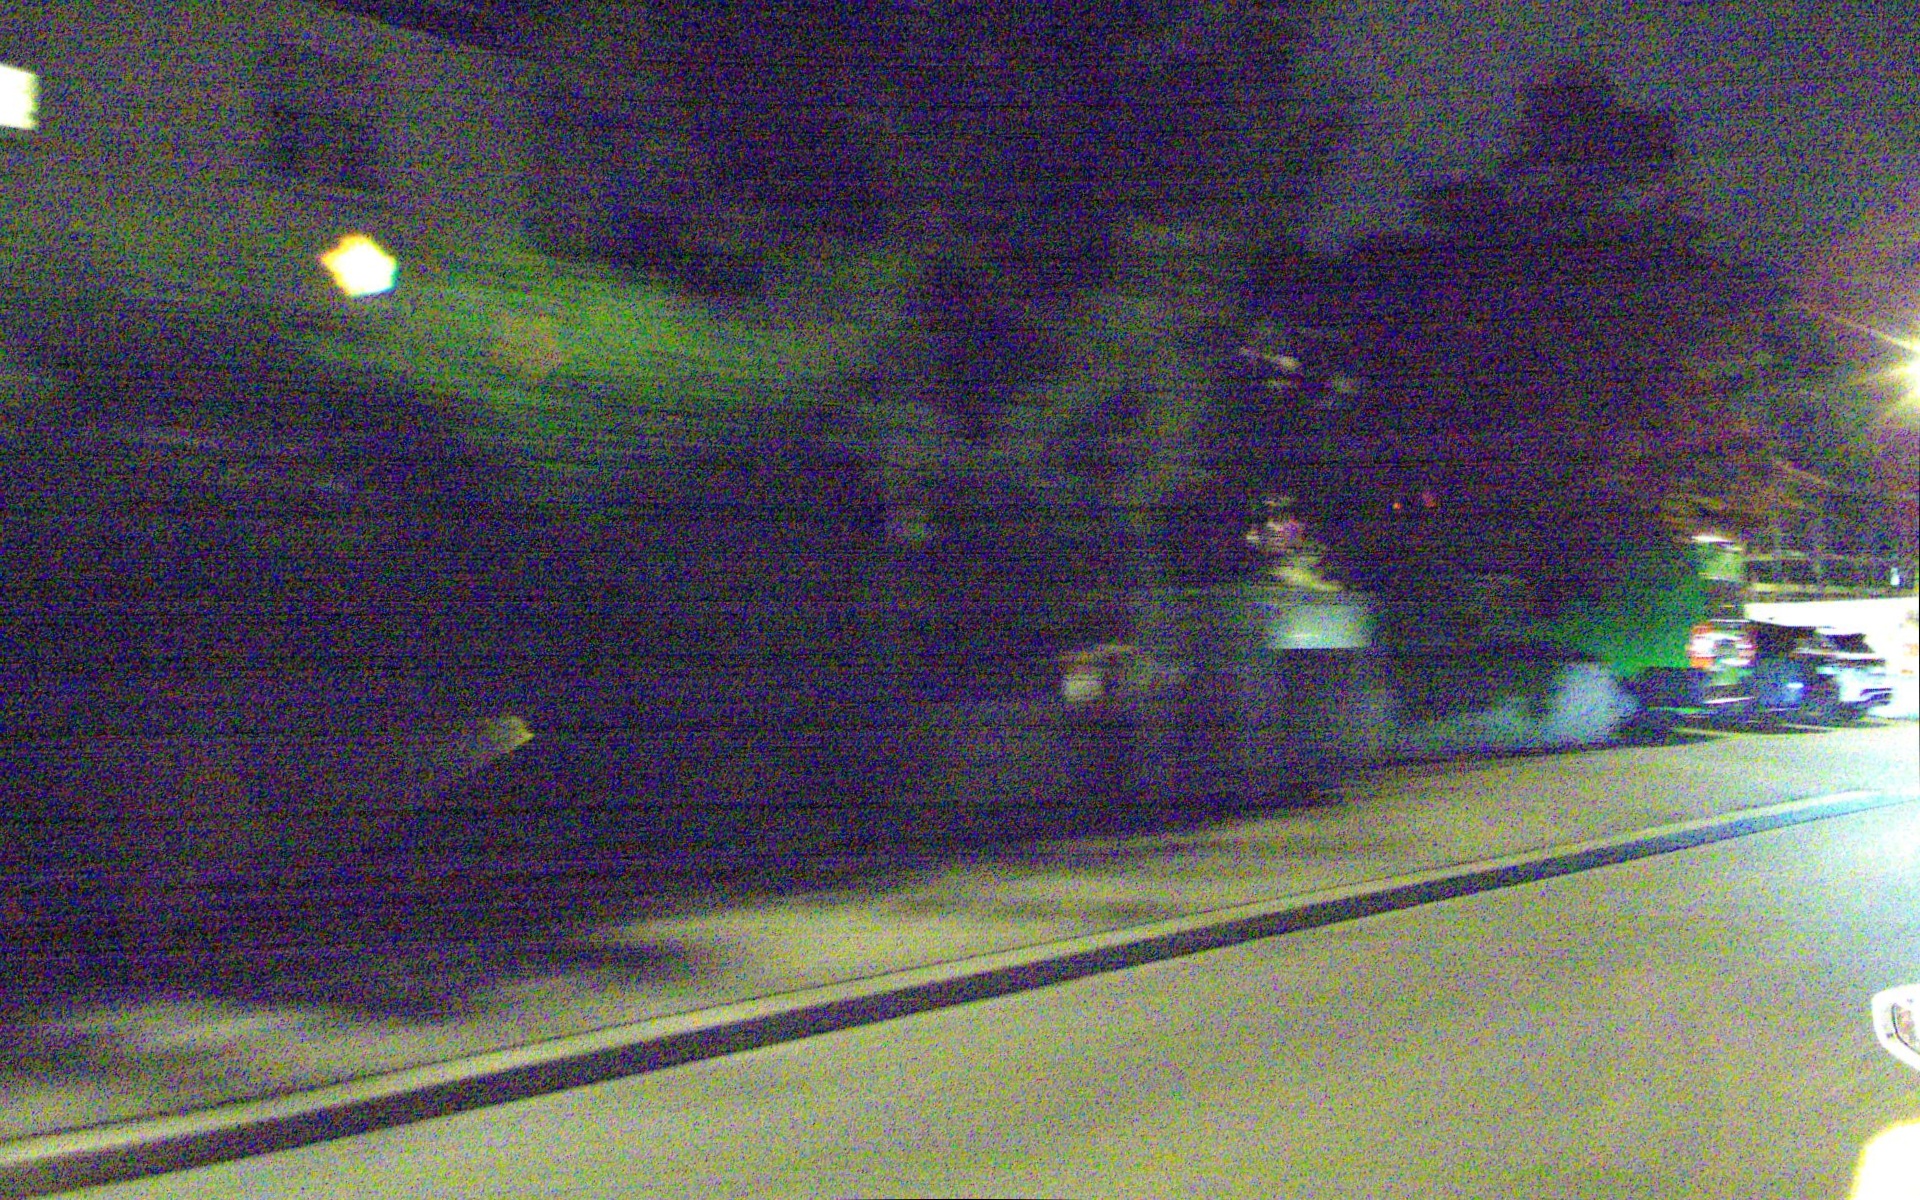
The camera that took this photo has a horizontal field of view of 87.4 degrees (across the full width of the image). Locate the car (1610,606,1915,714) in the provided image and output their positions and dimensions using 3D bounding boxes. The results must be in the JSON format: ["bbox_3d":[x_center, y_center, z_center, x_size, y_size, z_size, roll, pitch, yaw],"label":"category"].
[{"bbox_3d":[14.101,0.972,17.876,1.905,1.576,3.792,1,1,-30],"label":"car"}]

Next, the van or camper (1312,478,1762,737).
[{"bbox_3d":[8.299,0.034,14.996,2.115,3.152,5.354,1,1,-39],"label":"van or camper"}]

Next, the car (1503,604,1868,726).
[{"bbox_3d":[11.664,0.968,16.507,2.040,1.634,4.397,3,-1,-29],"label":"car"}]
